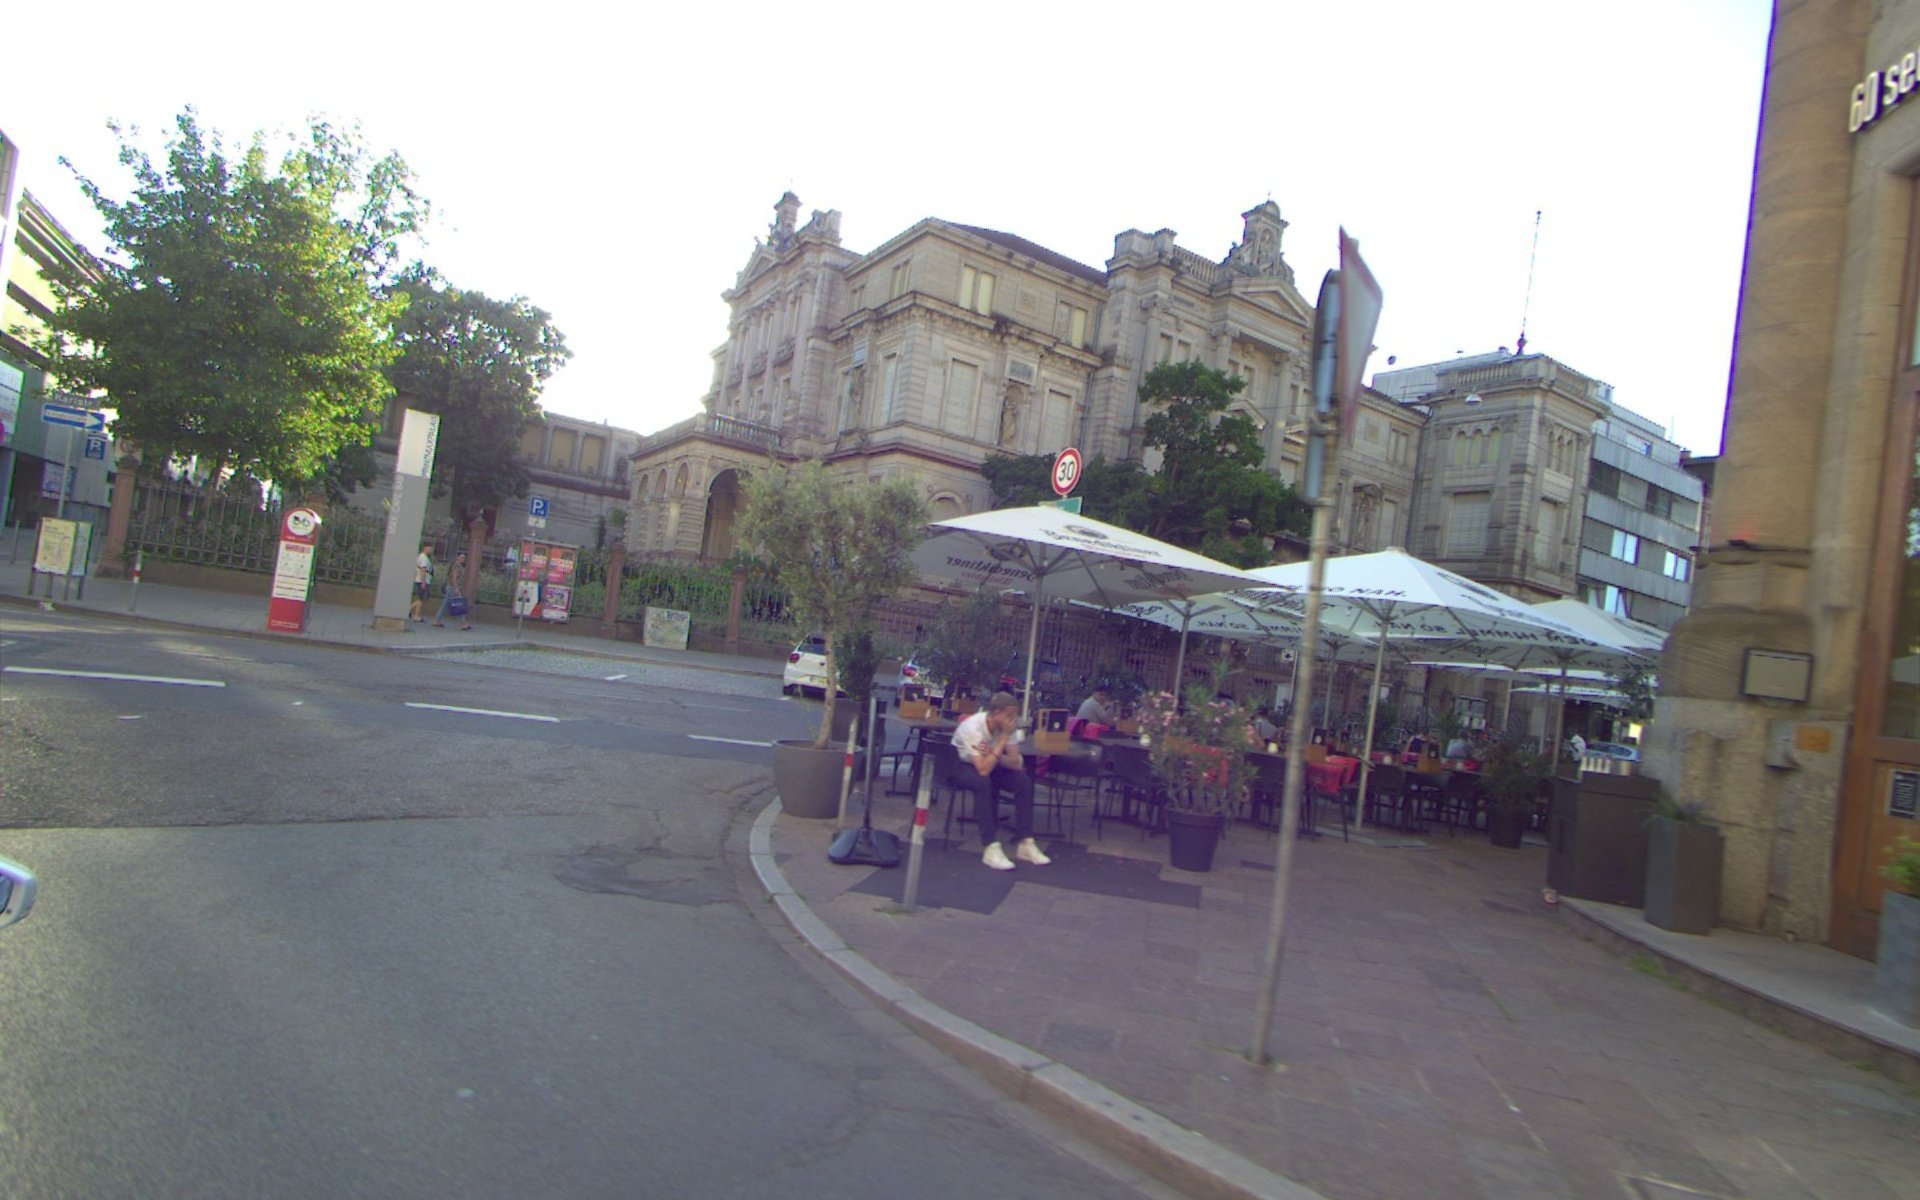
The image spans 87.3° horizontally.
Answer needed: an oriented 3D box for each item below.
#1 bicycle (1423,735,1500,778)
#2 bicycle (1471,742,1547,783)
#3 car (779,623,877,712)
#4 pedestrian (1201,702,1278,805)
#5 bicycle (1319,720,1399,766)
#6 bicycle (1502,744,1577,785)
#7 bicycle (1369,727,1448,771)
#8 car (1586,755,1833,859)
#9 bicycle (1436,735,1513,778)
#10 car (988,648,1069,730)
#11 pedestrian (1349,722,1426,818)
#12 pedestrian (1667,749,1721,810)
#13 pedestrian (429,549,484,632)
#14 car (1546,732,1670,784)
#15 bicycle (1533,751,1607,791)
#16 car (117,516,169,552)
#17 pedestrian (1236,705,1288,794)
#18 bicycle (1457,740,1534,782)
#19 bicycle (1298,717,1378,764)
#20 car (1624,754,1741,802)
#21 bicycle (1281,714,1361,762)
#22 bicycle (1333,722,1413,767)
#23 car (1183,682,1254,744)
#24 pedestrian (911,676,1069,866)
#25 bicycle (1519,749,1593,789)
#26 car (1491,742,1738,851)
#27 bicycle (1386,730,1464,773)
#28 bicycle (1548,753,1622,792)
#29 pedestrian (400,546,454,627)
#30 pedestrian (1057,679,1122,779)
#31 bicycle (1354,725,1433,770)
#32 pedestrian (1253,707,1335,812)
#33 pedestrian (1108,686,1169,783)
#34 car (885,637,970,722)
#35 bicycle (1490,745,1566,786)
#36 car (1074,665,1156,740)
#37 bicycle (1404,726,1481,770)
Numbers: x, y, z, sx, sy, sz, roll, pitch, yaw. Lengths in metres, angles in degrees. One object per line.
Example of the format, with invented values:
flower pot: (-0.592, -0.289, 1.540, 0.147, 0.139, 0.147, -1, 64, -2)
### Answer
bicycle: (17.595, 5.478, 35.350, 0.710, 1.102, 2.282, 10, -3, -34)
bicycle: (20.050, 5.935, 36.812, 0.710, 1.102, 2.282, 10, -3, -34)
car: (-2.988, 1.499, 23.534, 1.724, 1.465, 3.906, 8, 2, -2)
pedestrian: (3.645, 1.992, 13.135, 0.567, 1.202, 0.597, 9, -2, -27)
bicycle: (12.797, 4.572, 32.305, 0.710, 1.102, 2.282, 10, -3, -34)
bicycle: (21.828, 6.186, 37.953, 0.710, 1.102, 2.282, 10, -3, -34)
bicycle: (15.078, 5.011, 33.887, 0.710, 1.102, 2.282, 10, -3, -34)
car: (16.470, 4.511, 22.376, 4.035, 1.428, 1.756, 7, -3, 27)
bicycle: (18.289, 5.562, 35.835, 0.710, 1.102, 2.282, 10, -3, -34)
car: (1.828, 2.229, 26.234, 1.722, 1.740, 4.004, 8, -2, 5)
pedestrian: (6.315, 2.501, 14.888, 0.676, 1.259, 0.599, 9, -2, -16)
pedestrian: (24.279, 5.944, 33.290, 0.992, 1.769, 0.967, 9, -2, -28)
pedestrian: (-11.125, -0.207, 22.222, 0.702, 1.689, 0.634, 10, -1, -44)
car: (27.304, 6.650, 42.525, 1.738, 1.428, 3.972, 10, -4, -29)
bicycle: (23.612, 6.601, 38.964, 0.710, 1.102, 2.282, 10, -3, -34)
car: (-53.952, -4.339, 66.524, 1.872, 1.933, 4.709, 10, -3, -32)
pedestrian: (4.718, 2.314, 15.679, 0.590, 1.259, 0.687, 8, -2, 19)
bicycle: (19.318, 5.796, 36.336, 0.710, 1.102, 2.282, 10, -3, -34)
bicycle: (11.878, 4.396, 31.690, 0.710, 1.102, 2.282, 10, -3, -34)
car: (33.373, 8.217, 46.559, 1.738, 1.428, 3.972, 10, -4, -29)
bicycle: (11.184, 4.265, 31.253, 0.710, 1.102, 2.282, 10, -3, -34)
bicycle: (13.464, 4.706, 32.868, 0.710, 1.102, 2.282, 10, -3, -34)
car: (7.522, 3.287, 29.524, 1.722, 1.428, 4.008, 7, -4, 14)
pedestrian: (0.219, 1.232, 7.406, 0.809, 1.202, 0.606, 7, -2, 39)
bicycle: (22.803, 6.454, 38.542, 0.710, 1.102, 2.282, 10, -3, -34)
car: (13.475, 4.013, 21.019, 3.997, 1.428, 1.756, 7, -3, 27)
bicycle: (15.859, 5.156, 34.346, 0.710, 1.102, 2.282, 10, -3, -34)
bicycle: (24.479, 6.761, 39.465, 0.710, 1.102, 2.282, 10, -3, -34)
pedestrian: (-11.992, -0.302, 22.645, 0.702, 1.689, 0.634, 10, -1, -44)
pedestrian: (1.783, 1.760, 13.829, 0.590, 1.259, 0.687, 8, -2, 19)
bicycle: (14.326, 4.864, 33.339, 0.710, 1.102, 2.282, 10, -3, -34)
pedestrian: (4.509, 2.150, 13.589, 0.678, 1.259, 0.597, 9, -2, -27)
pedestrian: (2.557, 1.911, 14.390, 0.590, 1.259, 0.687, 8, -2, 19)
car: (-0.820, 1.873, 24.811, 1.724, 1.544, 3.998, 8, 0, -2)
bicycle: (21.120, 6.135, 37.456, 0.710, 1.102, 2.282, 10, -3, -34)
car: (4.286, 2.768, 27.299, 1.722, 1.625, 4.008, 7, -3, 14)
bicycle: (16.669, 5.107, 34.816, 0.710, 1.102, 2.282, 10, -3, -34)
